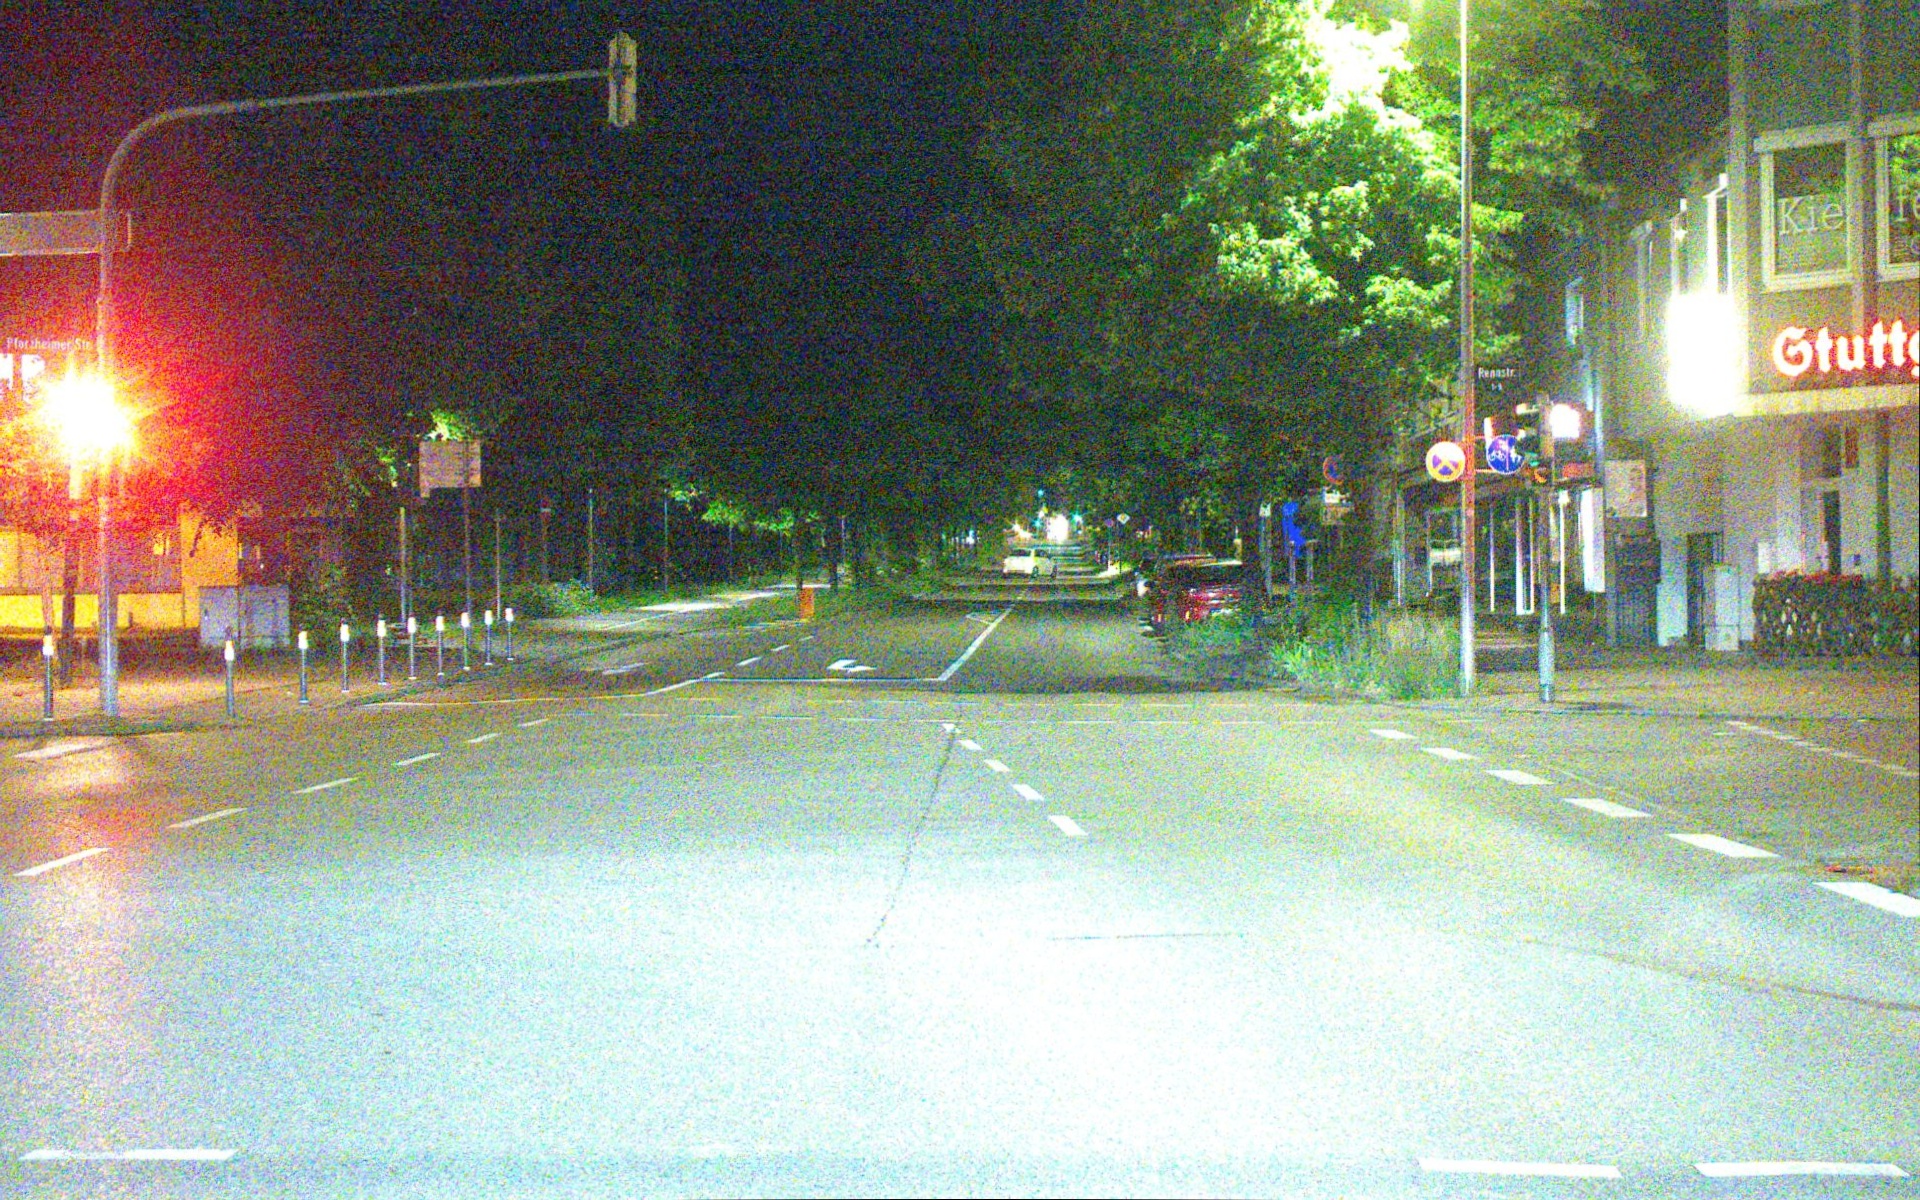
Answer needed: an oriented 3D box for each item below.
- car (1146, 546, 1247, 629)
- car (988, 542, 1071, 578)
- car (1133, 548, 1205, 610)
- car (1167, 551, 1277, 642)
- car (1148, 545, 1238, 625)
[{"bbox_3d":[4.704,-0.264,68.803,1.876,1.610,4.000,0,1,2],"label":"car"},{"bbox_3d":[3.292,-1.895,162.411,2.231,1.645,3.993,0,1,32],"label":"car"},{"bbox_3d":[5.736,-0.586,94.559,1.876,1.678,4.000,0,1,2],"label":"car"},{"bbox_3d":[4.835,-0.082,63.825,1.876,1.610,4.000,0,1,2],"label":"car"},{"bbox_3d":[5.164,-0.344,76.474,1.876,1.723,4.000,0,1,2],"label":"car"}]
